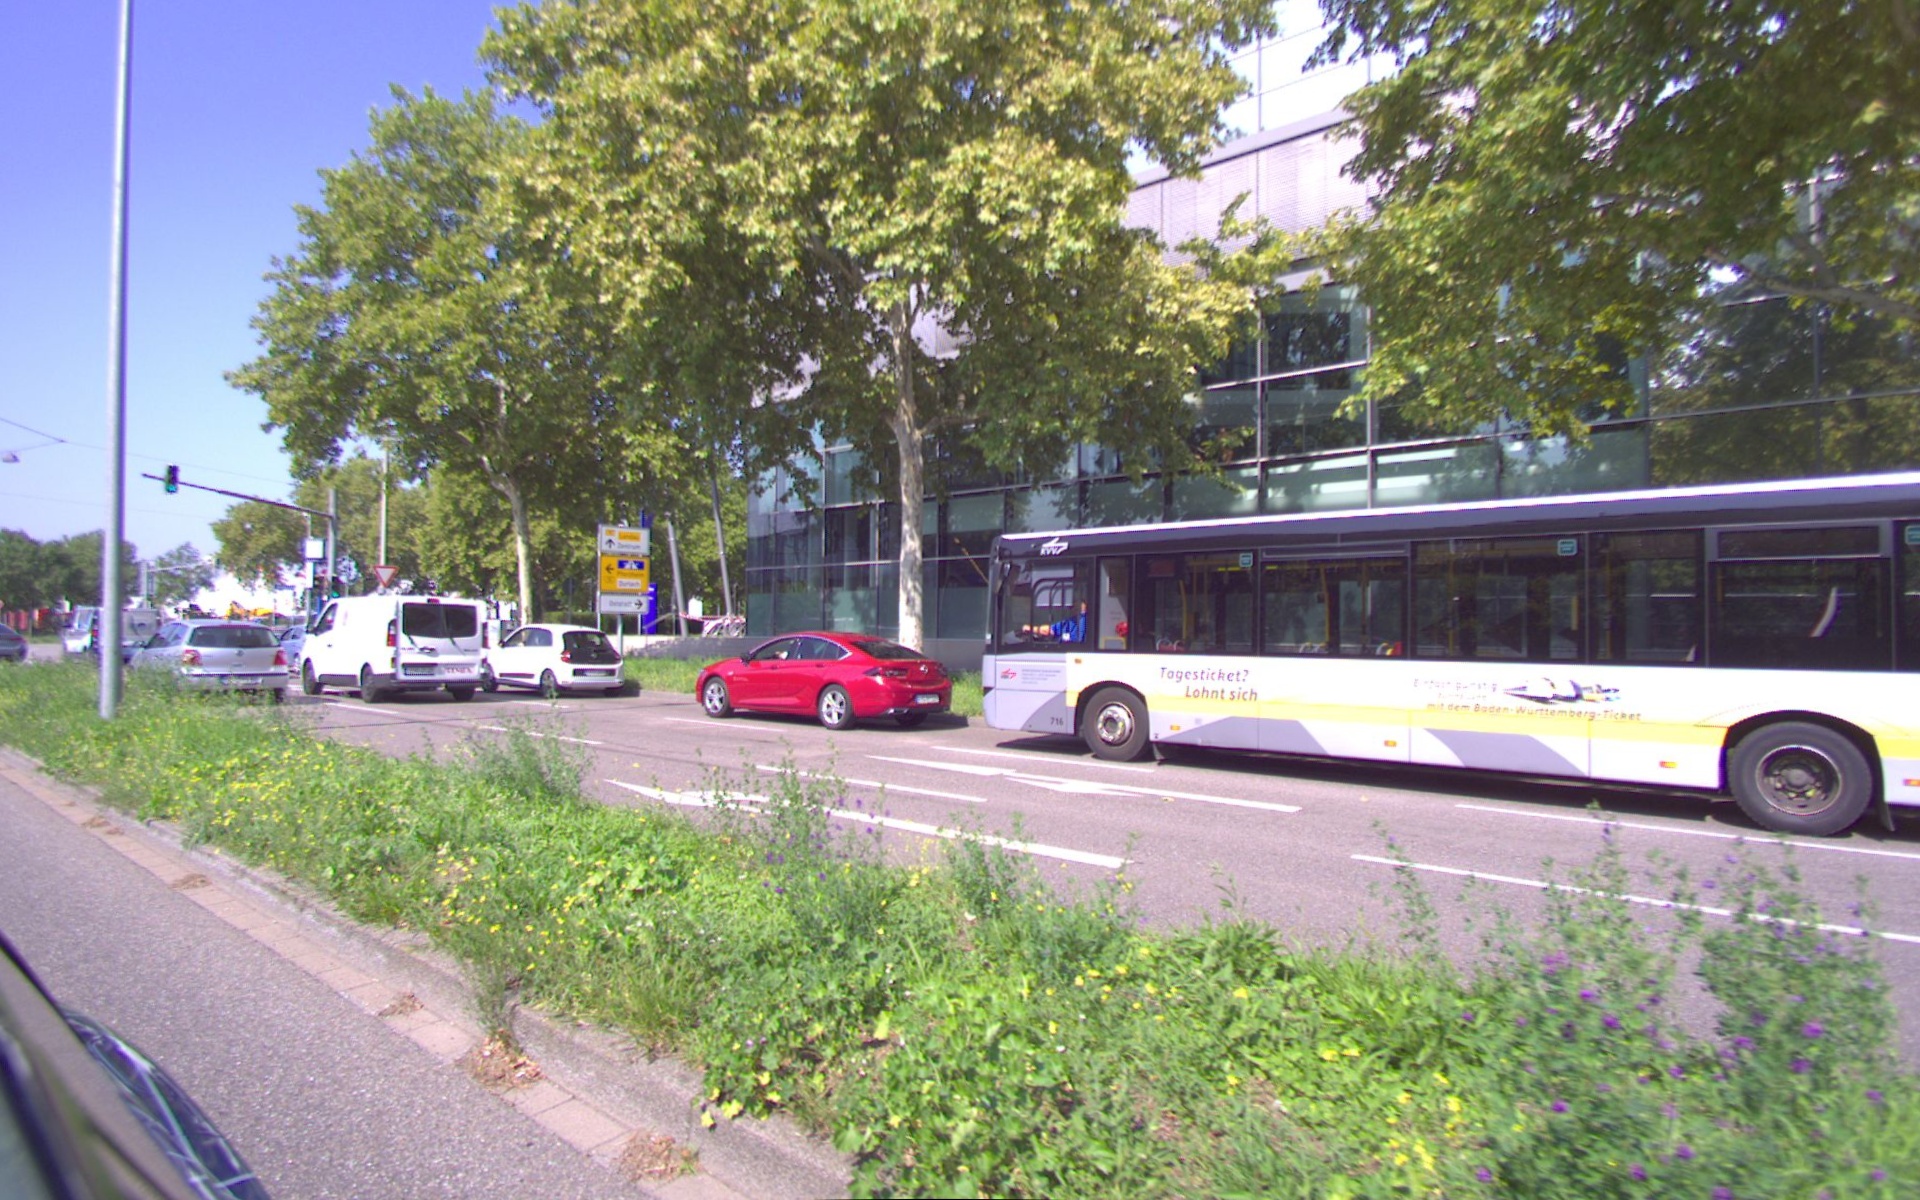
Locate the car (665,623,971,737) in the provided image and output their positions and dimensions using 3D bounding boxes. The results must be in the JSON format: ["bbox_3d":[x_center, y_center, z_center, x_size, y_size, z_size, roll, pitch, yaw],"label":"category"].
[{"bbox_3d":[-2.409,1.185,16.195,5.207,1.522,1.762,-1,-4,39],"label":"car"}]

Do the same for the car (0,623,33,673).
[{"bbox_3d":[-30.310,1.403,30.500,4.579,1.454,1.826,0,-4,25],"label":"car"}]

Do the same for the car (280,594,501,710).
[{"bbox_3d":[-11.175,0.943,19.695,5.184,1.975,1.908,0,-3,39],"label":"car"}]

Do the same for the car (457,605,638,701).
[{"bbox_3d":[-9.067,1.130,22.156,3.971,1.910,1.908,-1,-4,38],"label":"car"}]

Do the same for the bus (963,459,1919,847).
[{"bbox_3d":[5.097,0.471,10.132,10.894,2.715,2.635,-1,-4,39],"label":"bus"}]

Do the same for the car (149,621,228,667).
[{"bbox_3d":[-29.783,1.684,39.047,3.729,1.547,1.650,1,-2,41],"label":"car"}]

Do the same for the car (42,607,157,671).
[{"bbox_3d":[-28.766,1.317,33.757,5.206,1.973,1.908,-2,-3,38],"label":"car"}]

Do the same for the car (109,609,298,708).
[{"bbox_3d":[-13.269,1.022,17.671,4.096,1.547,1.598,-2,-5,39],"label":"car"}]
